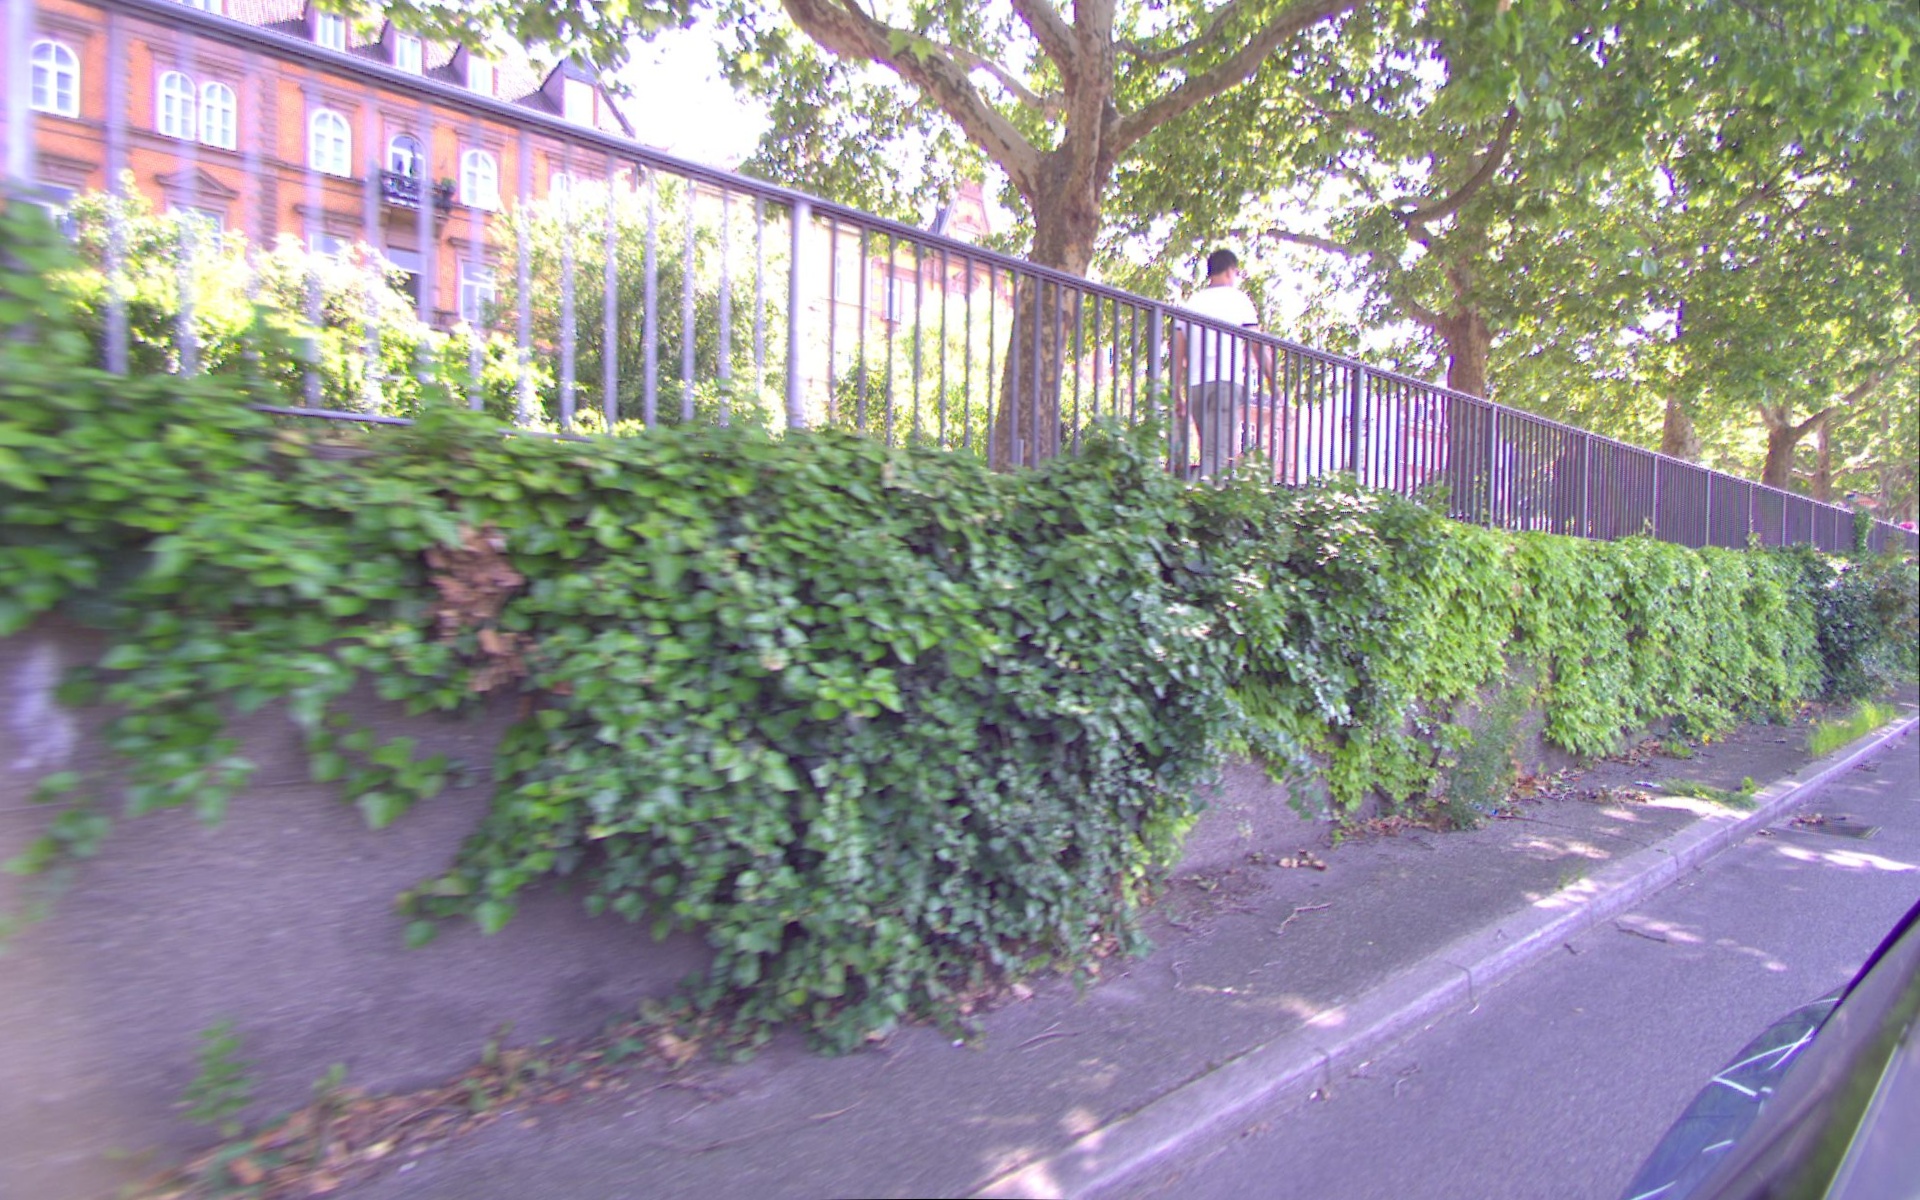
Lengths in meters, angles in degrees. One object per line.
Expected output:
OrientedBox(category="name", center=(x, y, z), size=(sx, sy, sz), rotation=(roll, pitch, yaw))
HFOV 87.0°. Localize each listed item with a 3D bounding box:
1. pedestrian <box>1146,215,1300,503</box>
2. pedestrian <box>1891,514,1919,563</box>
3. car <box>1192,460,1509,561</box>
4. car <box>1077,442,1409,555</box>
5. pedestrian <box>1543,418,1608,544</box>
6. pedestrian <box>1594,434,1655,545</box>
OrientedBox(category="pedestrian", center=(1.651, -1.449, 6.378), size=(0.639, 1.611, 0.666), rotation=(0, 1, -41))
OrientedBox(category="pedestrian", center=(25.417, -1.637, 27.021), size=(0.729, 1.259, 0.712), rotation=(0, 1, -41))
OrientedBox(category="car", center=(5.209, -1.127, 13.868), size=(1.622, 1.129, 3.737), rotation=(0, 1, -41))
OrientedBox(category="car", center=(3.417, -1.167, 12.705), size=(1.623, 1.129, 3.735), rotation=(0, 1, -43))
OrientedBox(category="pedestrian", center=(8.531, -1.617, 14.021), size=(0.646, 1.660, 0.617), rotation=(2, 1, 42))
OrientedBox(category="pedestrian", center=(9.009, -1.479, 13.720), size=(0.584, 1.437, 0.580), rotation=(2, 1, 42))
